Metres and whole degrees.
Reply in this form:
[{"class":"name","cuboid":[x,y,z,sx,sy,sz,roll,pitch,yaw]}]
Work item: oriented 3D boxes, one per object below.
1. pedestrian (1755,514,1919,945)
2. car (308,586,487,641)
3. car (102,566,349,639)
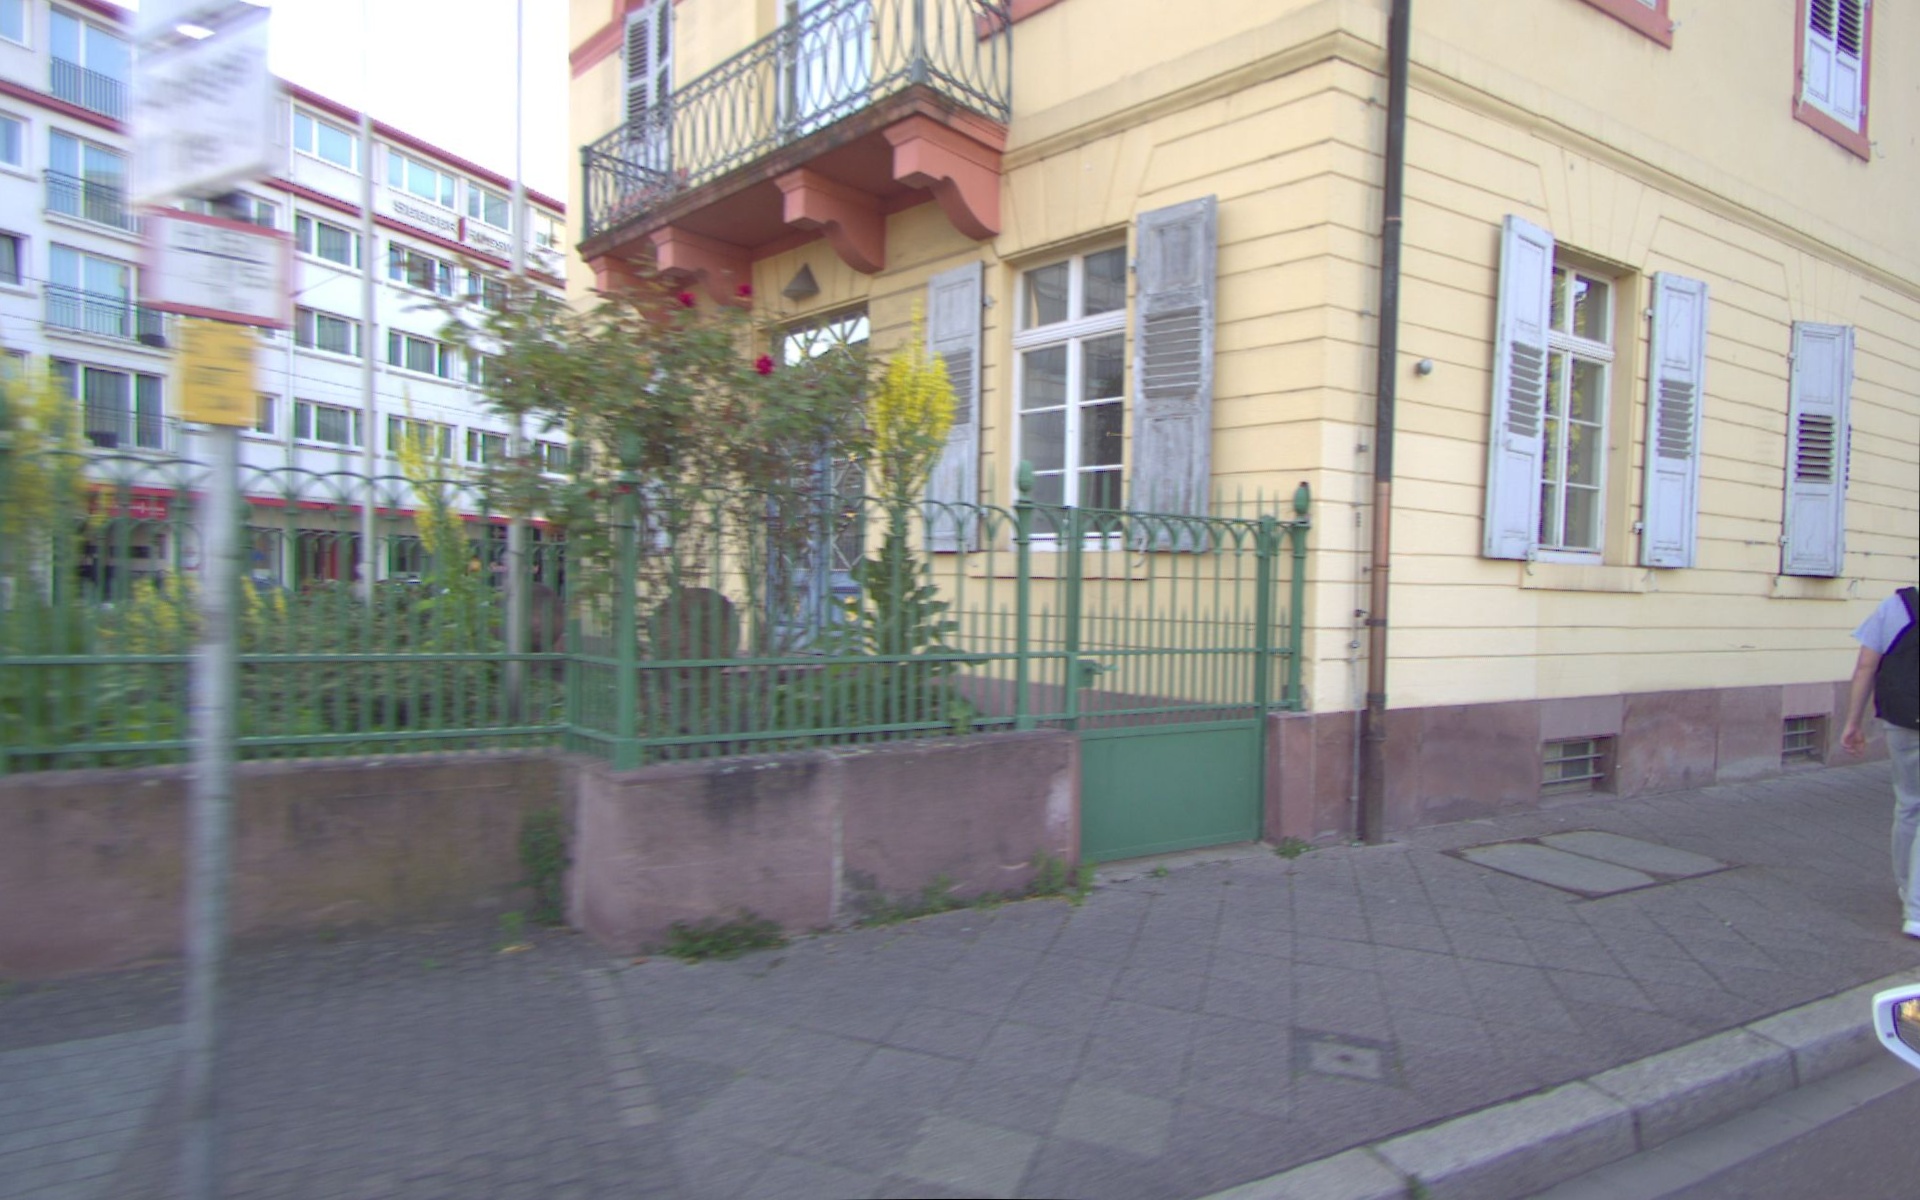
[{"class":"pedestrian","cuboid":[4.223,0.529,4.369,0.818,1.747,0.873,1,2,-26]},{"class":"car","cuboid":[-17.023,0.350,30.616,1.964,1.484,4.394,2,1,29]},{"class":"car","cuboid":[-18.932,0.043,26.163,1.964,1.688,4.831,2,1,29]}]
